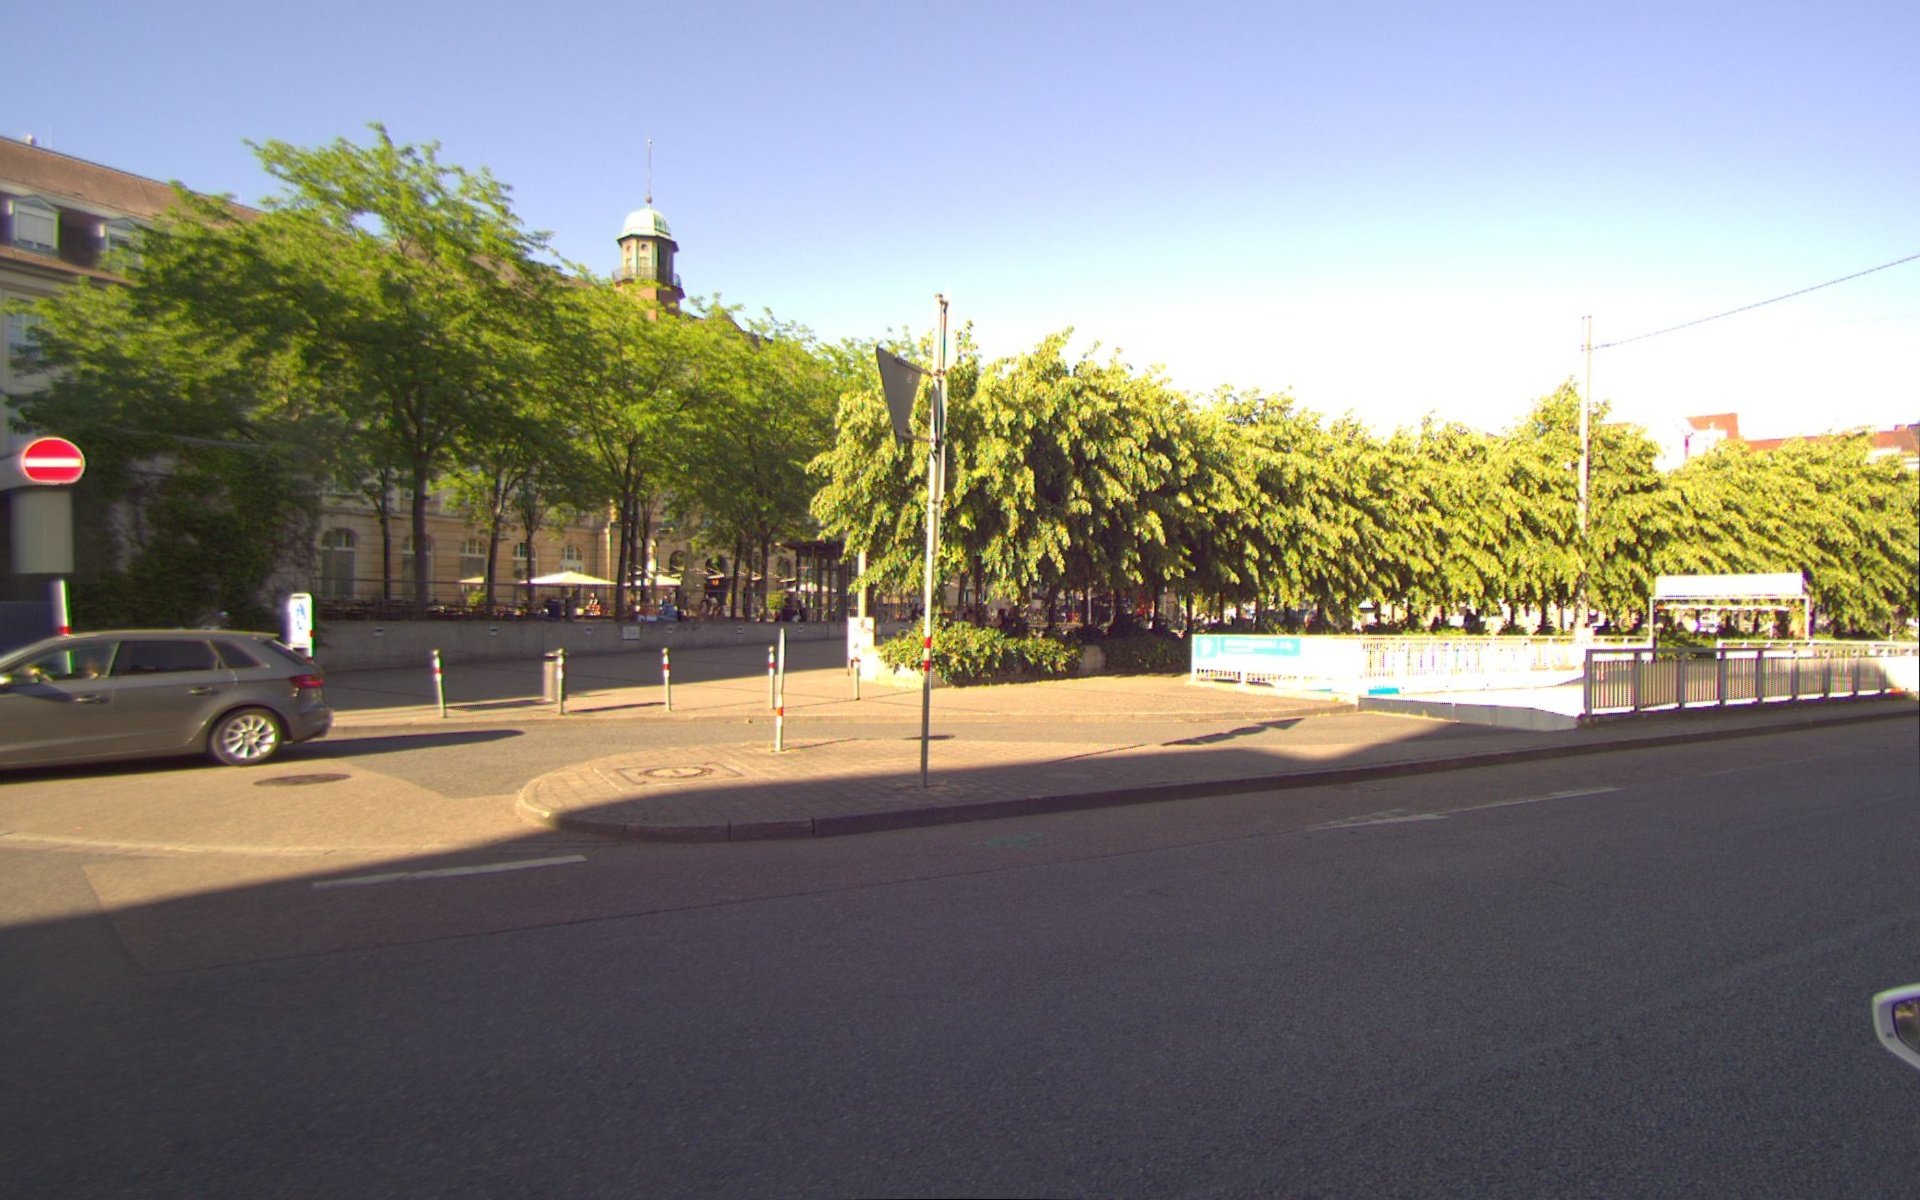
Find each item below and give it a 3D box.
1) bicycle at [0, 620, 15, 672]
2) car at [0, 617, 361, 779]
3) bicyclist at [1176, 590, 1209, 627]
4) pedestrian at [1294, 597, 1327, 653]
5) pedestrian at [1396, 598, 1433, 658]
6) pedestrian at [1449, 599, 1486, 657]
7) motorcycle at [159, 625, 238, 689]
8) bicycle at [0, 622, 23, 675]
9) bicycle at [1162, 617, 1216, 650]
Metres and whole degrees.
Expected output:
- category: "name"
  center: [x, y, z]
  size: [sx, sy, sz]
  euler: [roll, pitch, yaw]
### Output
- category: "bicycle"
  center: [-21.787, 0.995, 21.663]
  size: [0.497, 1.146, 1.962]
  euler: [0, -2, 31]
- category: "car"
  center: [-8.782, 0.916, 10.176]
  size: [4.498, 1.442, 1.734]
  euler: [0, 0, -38]
- category: "bicyclist"
  center: [11.086, 0.397, 47.820]
  size: [1.199, 1.722, 0.958]
  euler: [2, -1, -36]
- category: "pedestrian"
  center: [13.619, 0.967, 39.089]
  size: [0.949, 2.136, 0.734]
  euler: [1, 0, -8]
- category: "pedestrian"
  center: [16.581, 1.020, 36.651]
  size: [0.949, 2.136, 0.734]
  euler: [1, 0, -8]
- category: "pedestrian"
  center: [18.992, 1.040, 37.617]
  size: [0.949, 2.136, 0.734]
  euler: [1, 0, -8]
- category: "motorcycle"
  center: [-15.135, 1.115, 20.012]
  size: [0.497, 1.224, 1.692]
  euler: [1, -1, -9]
- category: "bicycle"
  center: [-21.321, 1.035, 21.365]
  size: [0.497, 1.146, 1.962]
  euler: [0, -2, 31]
- category: "bicycle"
  center: [10.875, 1.600, 47.702]
  size: [2.662, 1.523, 0.957]
  euler: [2, -1, -36]
